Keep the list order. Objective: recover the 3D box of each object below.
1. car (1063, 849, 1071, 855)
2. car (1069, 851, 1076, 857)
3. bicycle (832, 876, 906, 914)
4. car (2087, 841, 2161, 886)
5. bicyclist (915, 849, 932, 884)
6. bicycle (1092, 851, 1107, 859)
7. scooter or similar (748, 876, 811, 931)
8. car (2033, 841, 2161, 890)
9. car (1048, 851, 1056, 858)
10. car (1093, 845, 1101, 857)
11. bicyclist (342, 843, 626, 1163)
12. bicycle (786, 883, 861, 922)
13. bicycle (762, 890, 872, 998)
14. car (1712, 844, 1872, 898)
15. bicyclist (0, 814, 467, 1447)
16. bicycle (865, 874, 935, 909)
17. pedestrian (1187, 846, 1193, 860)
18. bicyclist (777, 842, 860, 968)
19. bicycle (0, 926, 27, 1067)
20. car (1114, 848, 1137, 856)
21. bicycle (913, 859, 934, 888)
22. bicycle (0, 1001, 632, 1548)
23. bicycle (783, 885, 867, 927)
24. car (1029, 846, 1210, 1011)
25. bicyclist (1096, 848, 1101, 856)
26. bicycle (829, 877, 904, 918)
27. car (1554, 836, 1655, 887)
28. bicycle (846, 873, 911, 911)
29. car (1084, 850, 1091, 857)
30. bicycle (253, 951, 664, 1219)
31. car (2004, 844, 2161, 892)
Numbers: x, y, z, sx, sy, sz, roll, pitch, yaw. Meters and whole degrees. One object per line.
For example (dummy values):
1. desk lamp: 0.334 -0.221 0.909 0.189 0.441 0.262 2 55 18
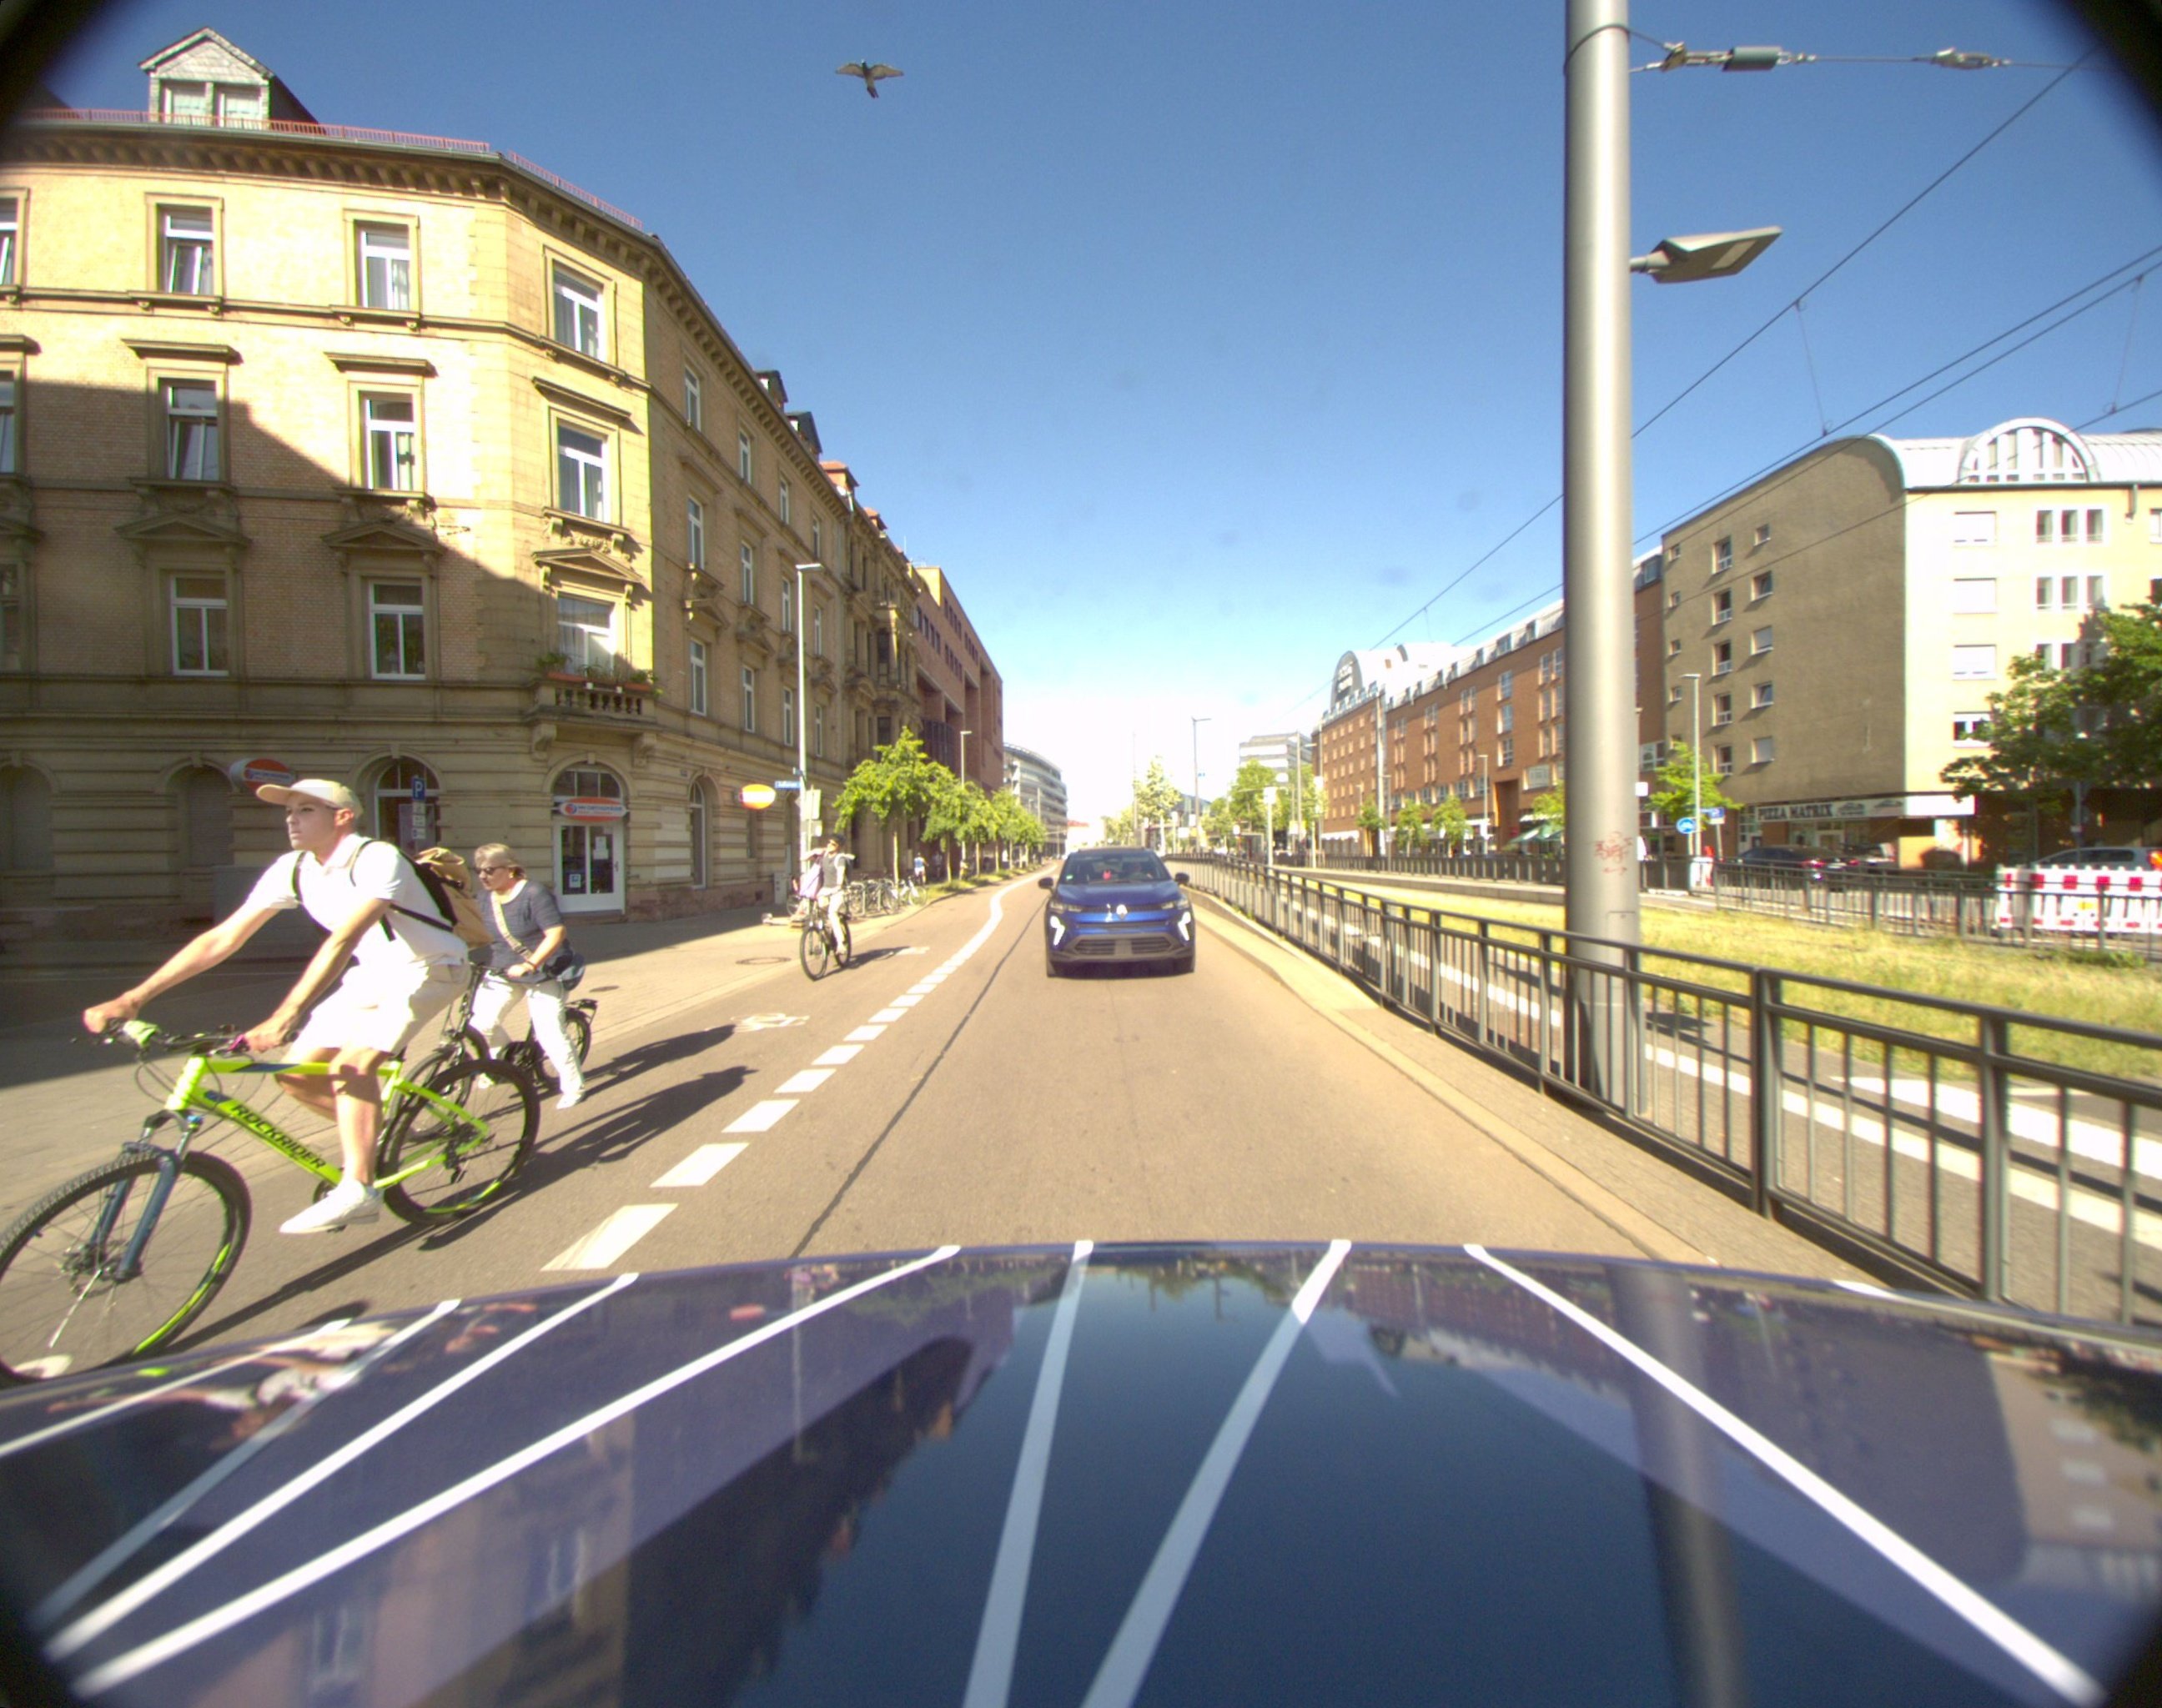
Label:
1. car: -3.603 -0.431 195.971 1.745 1.543 4.000 -1 0 1
2. car: -2.010 -0.014 179.784 1.745 1.543 4.000 -1 0 1
3. bicycle: -6.194 1.192 22.327 1.903 1.024 1.030 1 1 -2
4. car: 38.239 0.339 26.238 1.715 1.477 3.999 -2 1 0
5. bicyclist: -7.218 0.563 34.862 0.579 1.608 0.794 -1 1 -2
6. bicycle: 3.115 0.166 128.066 2.275 1.118 0.850 -2 1 -3
7. scooter or similar: -6.777 1.102 17.086 1.199 1.191 0.487 -1 1 -4
8. car: 35.668 0.347 25.817 1.473 1.543 3.964 -2 1 -8
9. car: -6.844 0.157 180.470 1.745 1.543 4.000 -1 0 0
10. car: 3.464 -0.651 165.184 1.758 2.472 4.610 -2 1 1
11. bicyclist: -3.542 0.812 4.630 0.854 1.717 0.989 -2 1 1
12. bicycle: -6.506 1.221 19.235 1.717 0.920 0.497 -1 1 1
13. bicycle: -3.476 1.140 10.201 0.725 1.187 1.952 -2 0 1
14. car: 24.294 0.506 26.183 1.699 1.630 3.999 -2 1 -1
15. bicyclist: -2.869 0.723 2.544 0.699 1.647 0.978 -2 1 21
16. bicycle: -5.903 1.217 24.875 2.062 1.036 0.847 2 1 0
17. pedestrian: 14.972 -0.090 104.322 0.822 1.878 0.769 -1 1 3
18. bicyclist: -3.497 0.655 10.194 0.725 1.595 0.895 -2 1 1
19. bicycle: -10.612 1.255 6.534 2.216 1.224 0.818 -1 -2 7
20. car: 8.847 -0.424 151.455 4.416 1.546 1.759 -1 1 1
21. bicycle: -7.222 0.874 34.920 0.579 1.246 2.097 -1 1 -2
22. bicycle: -2.789 1.232 2.729 0.724 1.000 1.955 -2 0 21
23. bicycle: -6.257 1.263 18.602 1.905 0.906 0.592 1 2 9
24. car: 0.426 0.753 9.976 1.758 1.576 4.420 -4 0 1
25. bicyclist: 2.927 -0.327 128.052 0.859 1.413 0.839 -2 1 -3
26. bicycle: -5.862 1.183 20.812 1.876 1.043 0.608 1 1 -4
27. car: 25.425 0.298 37.174 1.997 2.283 5.191 -2 1 9
28. bicycle: -6.233 1.159 23.472 1.678 1.056 1.134 3 1 -1
29. car: 1.495 -0.124 178.260 1.745 1.543 4.000 -1 0 1
30. bicycle: -3.527 1.237 4.630 0.830 1.000 1.952 -2 0 1
31. car: 33.498 0.413 25.233 1.438 1.420 3.345 -2 1 -12
